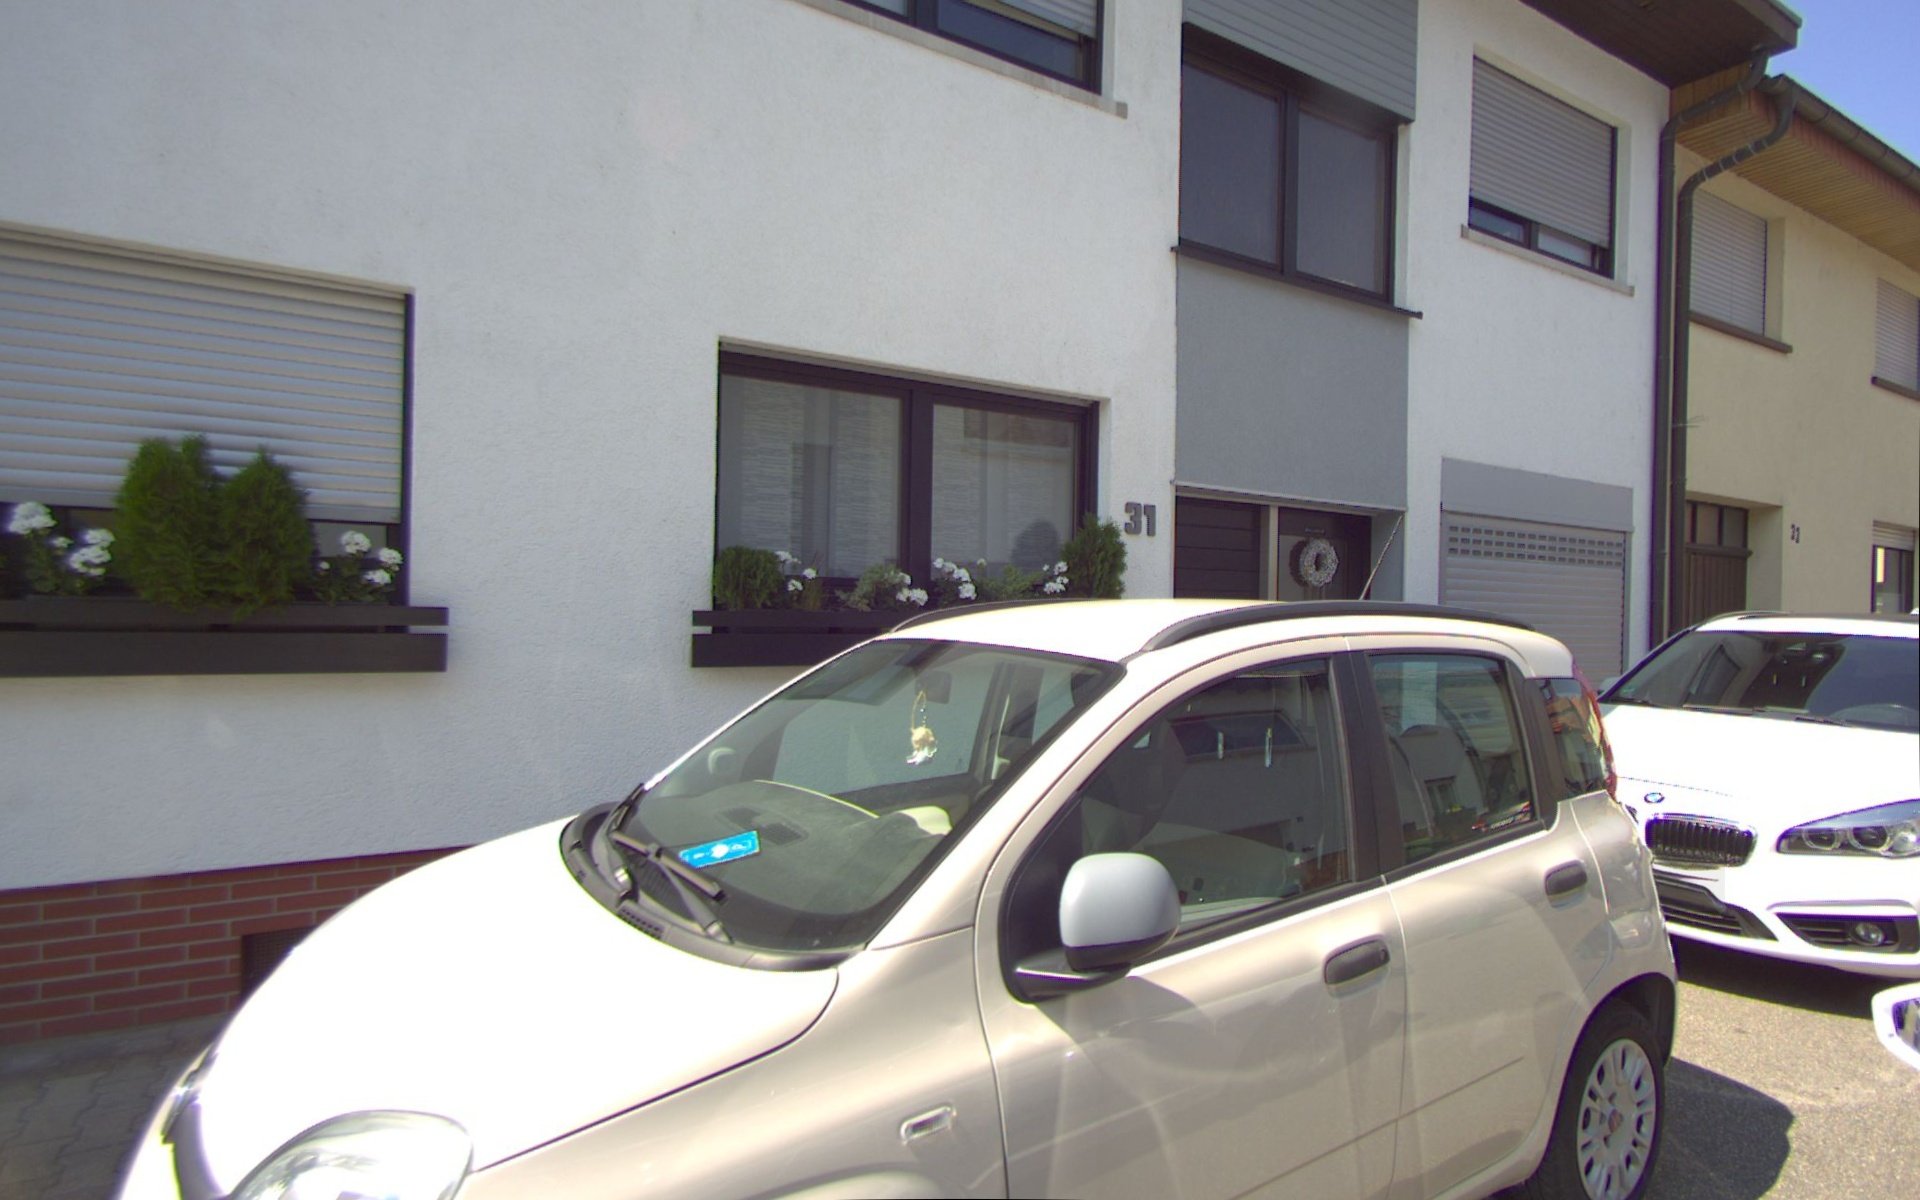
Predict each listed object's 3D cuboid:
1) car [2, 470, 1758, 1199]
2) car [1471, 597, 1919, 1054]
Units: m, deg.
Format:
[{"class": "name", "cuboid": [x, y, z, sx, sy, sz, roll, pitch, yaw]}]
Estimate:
[{"class": "car", "cuboid": [0.289, 0.716, 2.525, 3.650, 1.562, 1.653, 1, -1, -34]}, {"class": "car", "cuboid": [4.511, 0.833, 5.198, 3.901, 1.569, 1.653, 2, -2, -34]}]
